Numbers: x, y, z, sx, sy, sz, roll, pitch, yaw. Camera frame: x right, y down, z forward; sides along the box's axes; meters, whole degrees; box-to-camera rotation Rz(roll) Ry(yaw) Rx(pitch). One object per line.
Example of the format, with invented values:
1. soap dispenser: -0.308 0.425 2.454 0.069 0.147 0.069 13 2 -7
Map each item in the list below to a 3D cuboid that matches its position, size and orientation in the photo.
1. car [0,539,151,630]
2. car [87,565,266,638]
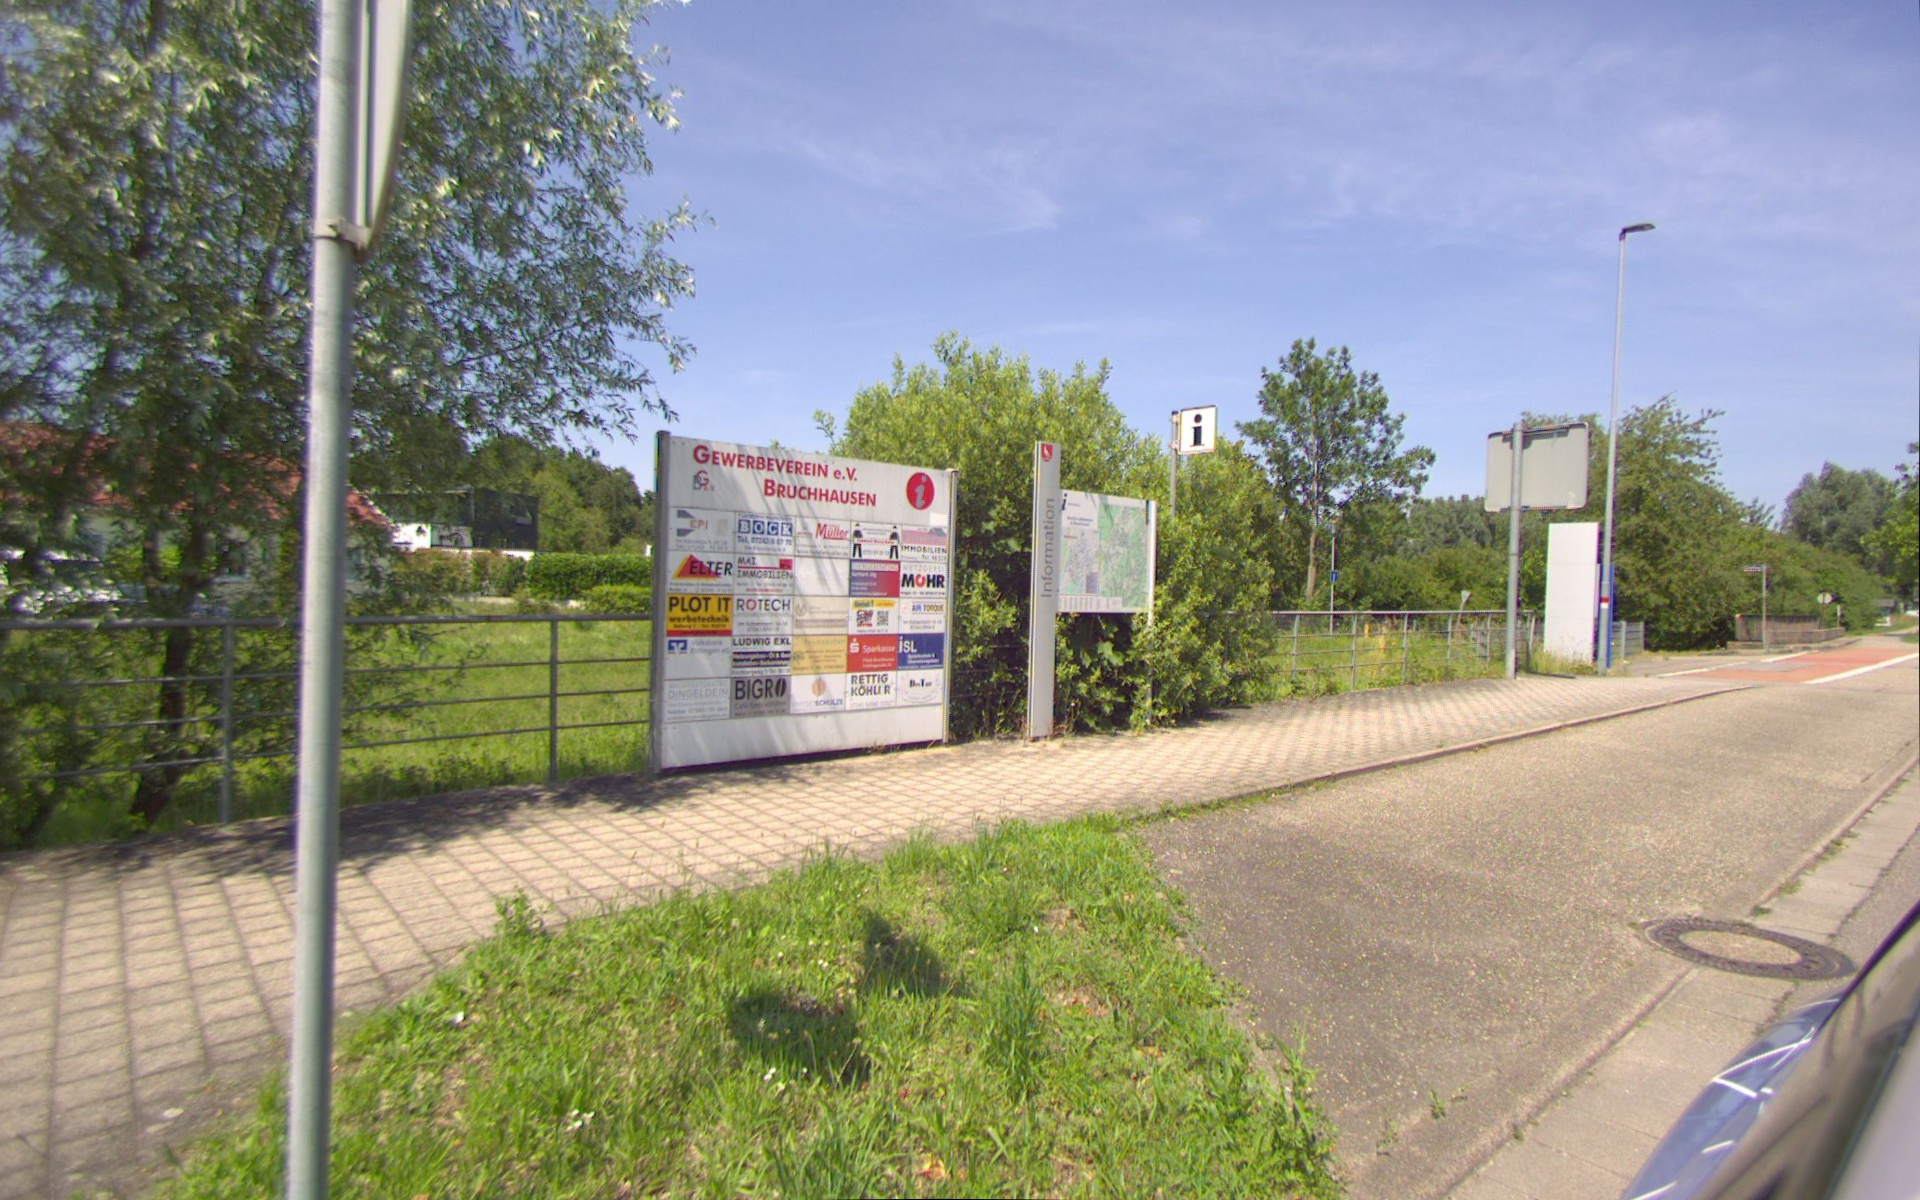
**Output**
1. car: -24.207 -0.406 26.690 5.120 2.229 2.201 0 0 20
2. car: -23.369 0.015 30.176 4.874 2.039 2.055 0 0 22
